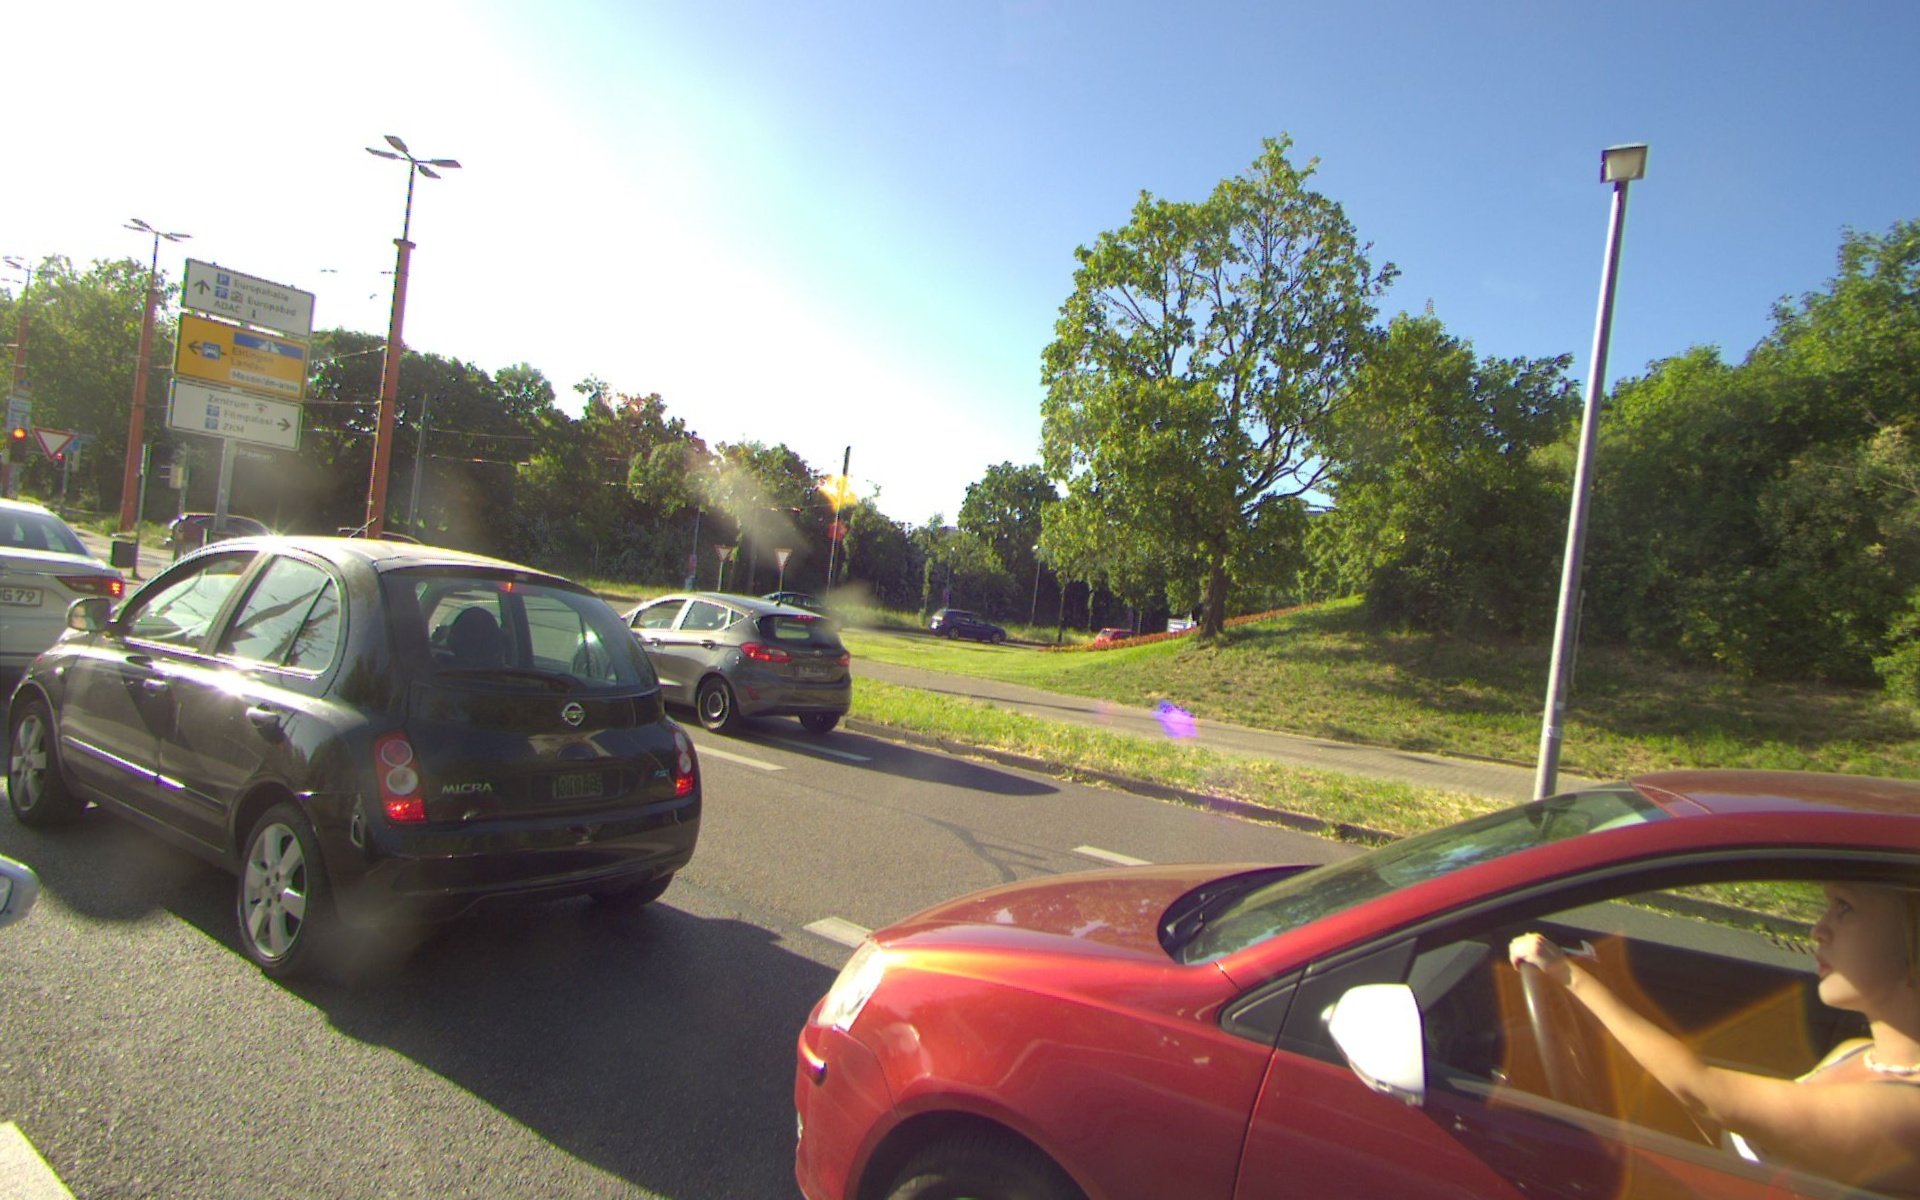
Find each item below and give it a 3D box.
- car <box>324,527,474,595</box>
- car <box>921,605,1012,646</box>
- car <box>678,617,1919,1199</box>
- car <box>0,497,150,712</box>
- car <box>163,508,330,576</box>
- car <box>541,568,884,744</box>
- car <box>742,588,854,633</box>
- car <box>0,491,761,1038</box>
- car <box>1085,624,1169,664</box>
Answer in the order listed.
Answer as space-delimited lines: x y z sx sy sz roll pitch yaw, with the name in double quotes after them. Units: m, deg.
-19.480 -1.329 35.081 4.311 1.753 1.828 8 -1 -30 "car"
0.341 1.296 50.689 4.186 1.497 1.741 8 -1 -29 "car"
1.379 0.990 1.895 3.634 1.434 1.624 7 -1 34 "car"
-8.338 -0.164 7.979 4.077 1.472 1.717 7 -1 33 "car"
-25.127 -2.017 35.633 4.517 1.688 1.828 8 -1 -30 "car"
-3.005 0.603 11.931 3.831 1.487 1.747 7 -1 35 "car"
-6.840 0.450 42.591 4.271 1.343 1.748 8 -1 -29 "car"
-2.813 0.464 4.626 3.457 1.524 1.558 7 0 32 "car"
8.646 2.276 51.940 3.958 1.512 1.757 8 -1 -31 "car"
